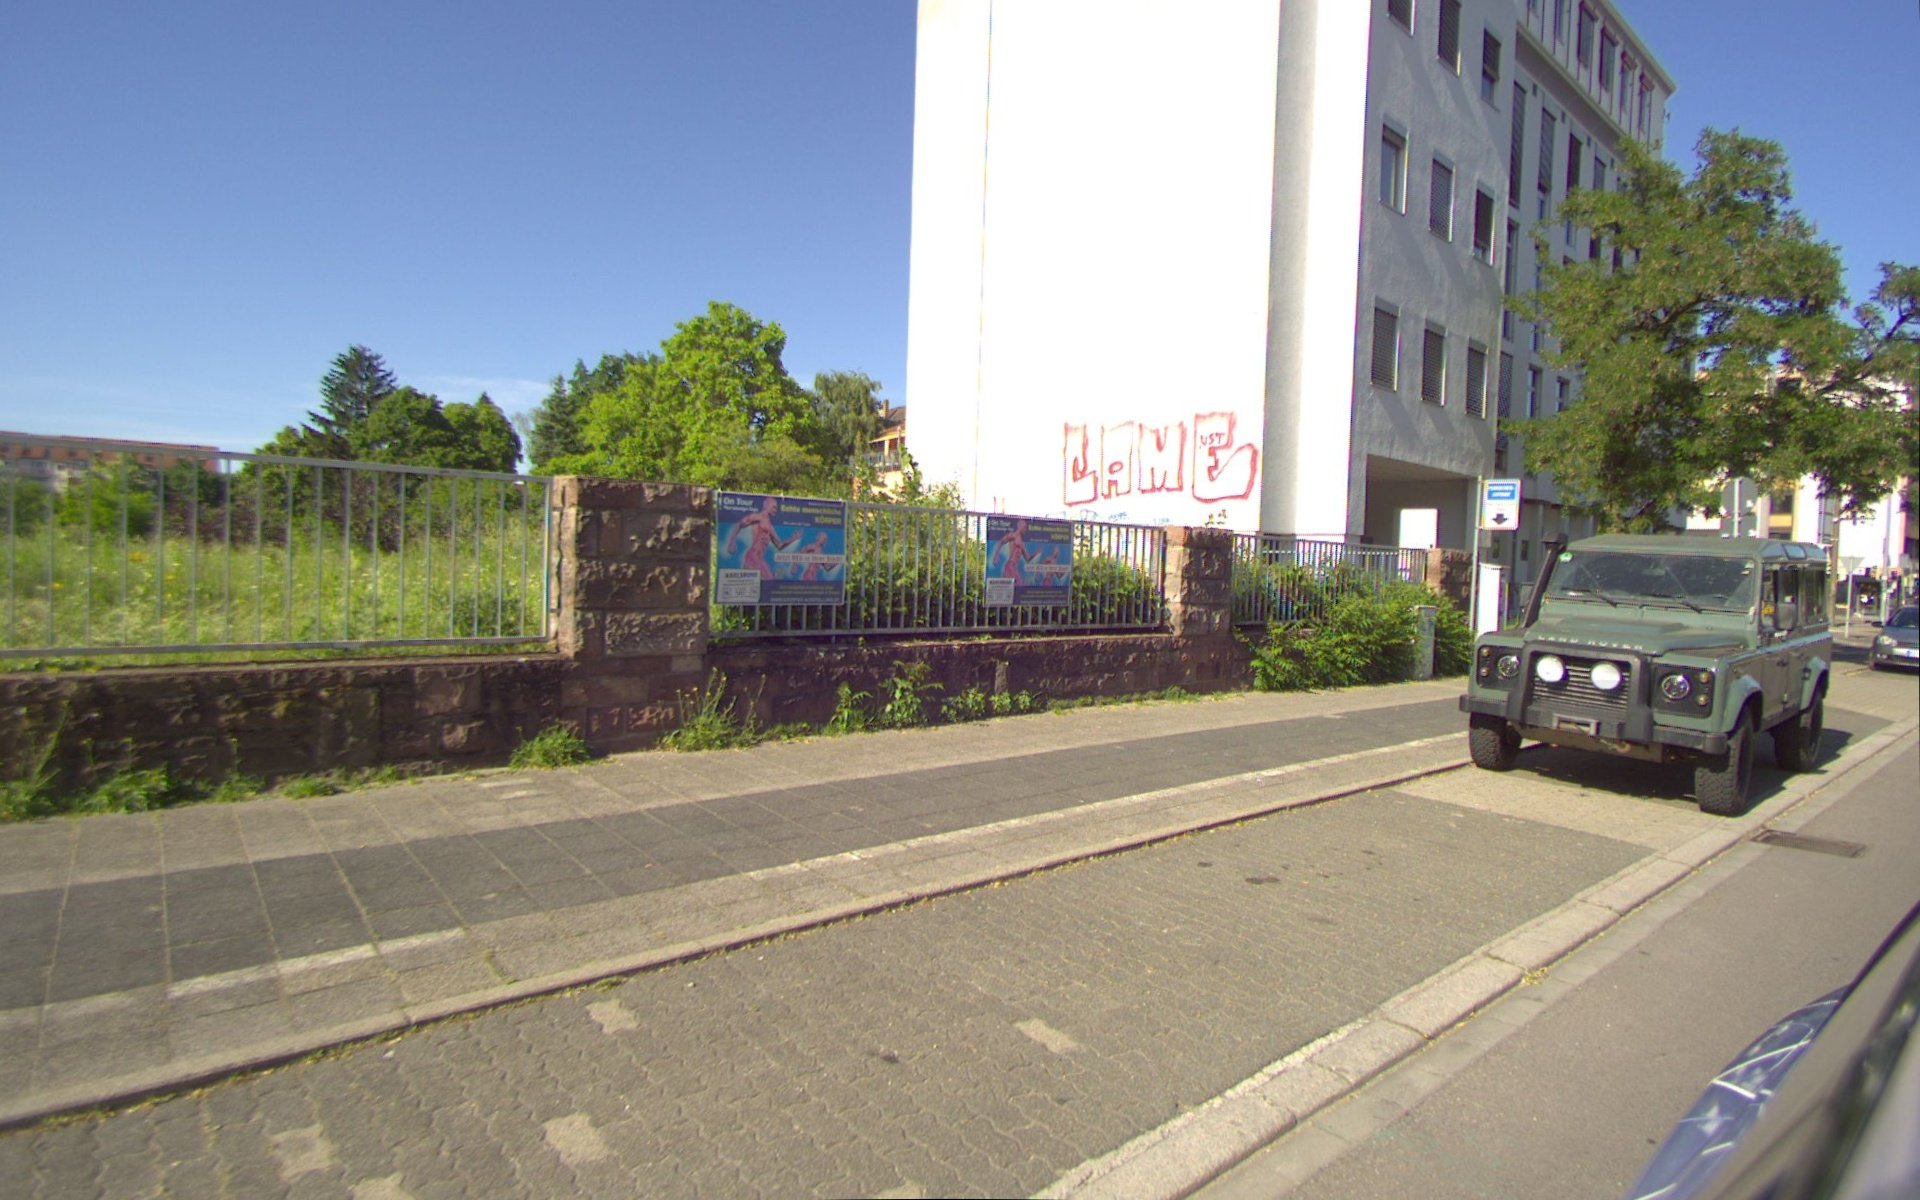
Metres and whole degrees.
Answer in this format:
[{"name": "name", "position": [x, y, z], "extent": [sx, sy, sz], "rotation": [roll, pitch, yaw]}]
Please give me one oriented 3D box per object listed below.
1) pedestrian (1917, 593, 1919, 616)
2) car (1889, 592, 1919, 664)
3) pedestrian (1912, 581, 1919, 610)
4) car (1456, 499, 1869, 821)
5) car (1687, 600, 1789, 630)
[{"name": "pedestrian", "position": [52.100, 0.264, 54.543], "extent": [0.516, 1.217, 0.649], "rotation": [-3, 3, -30]}, {"name": "car", "position": [21.620, 0.667, 21.917], "extent": [4.080, 1.466, 1.642], "rotation": [2, 1, -40]}, {"name": "pedestrian", "position": [56.207, -0.249, 58.882], "extent": [0.786, 1.663, 0.980], "rotation": [0, 3, 15]}, {"name": "car", "position": [6.107, 0.313, 8.545], "extent": [4.692, 2.038, 1.664], "rotation": [0, 4, -41]}, {"name": "car", "position": [42.700, 0.817, 55.594], "extent": [1.848, 1.425, 4.059], "rotation": [0, 2, -34]}]
